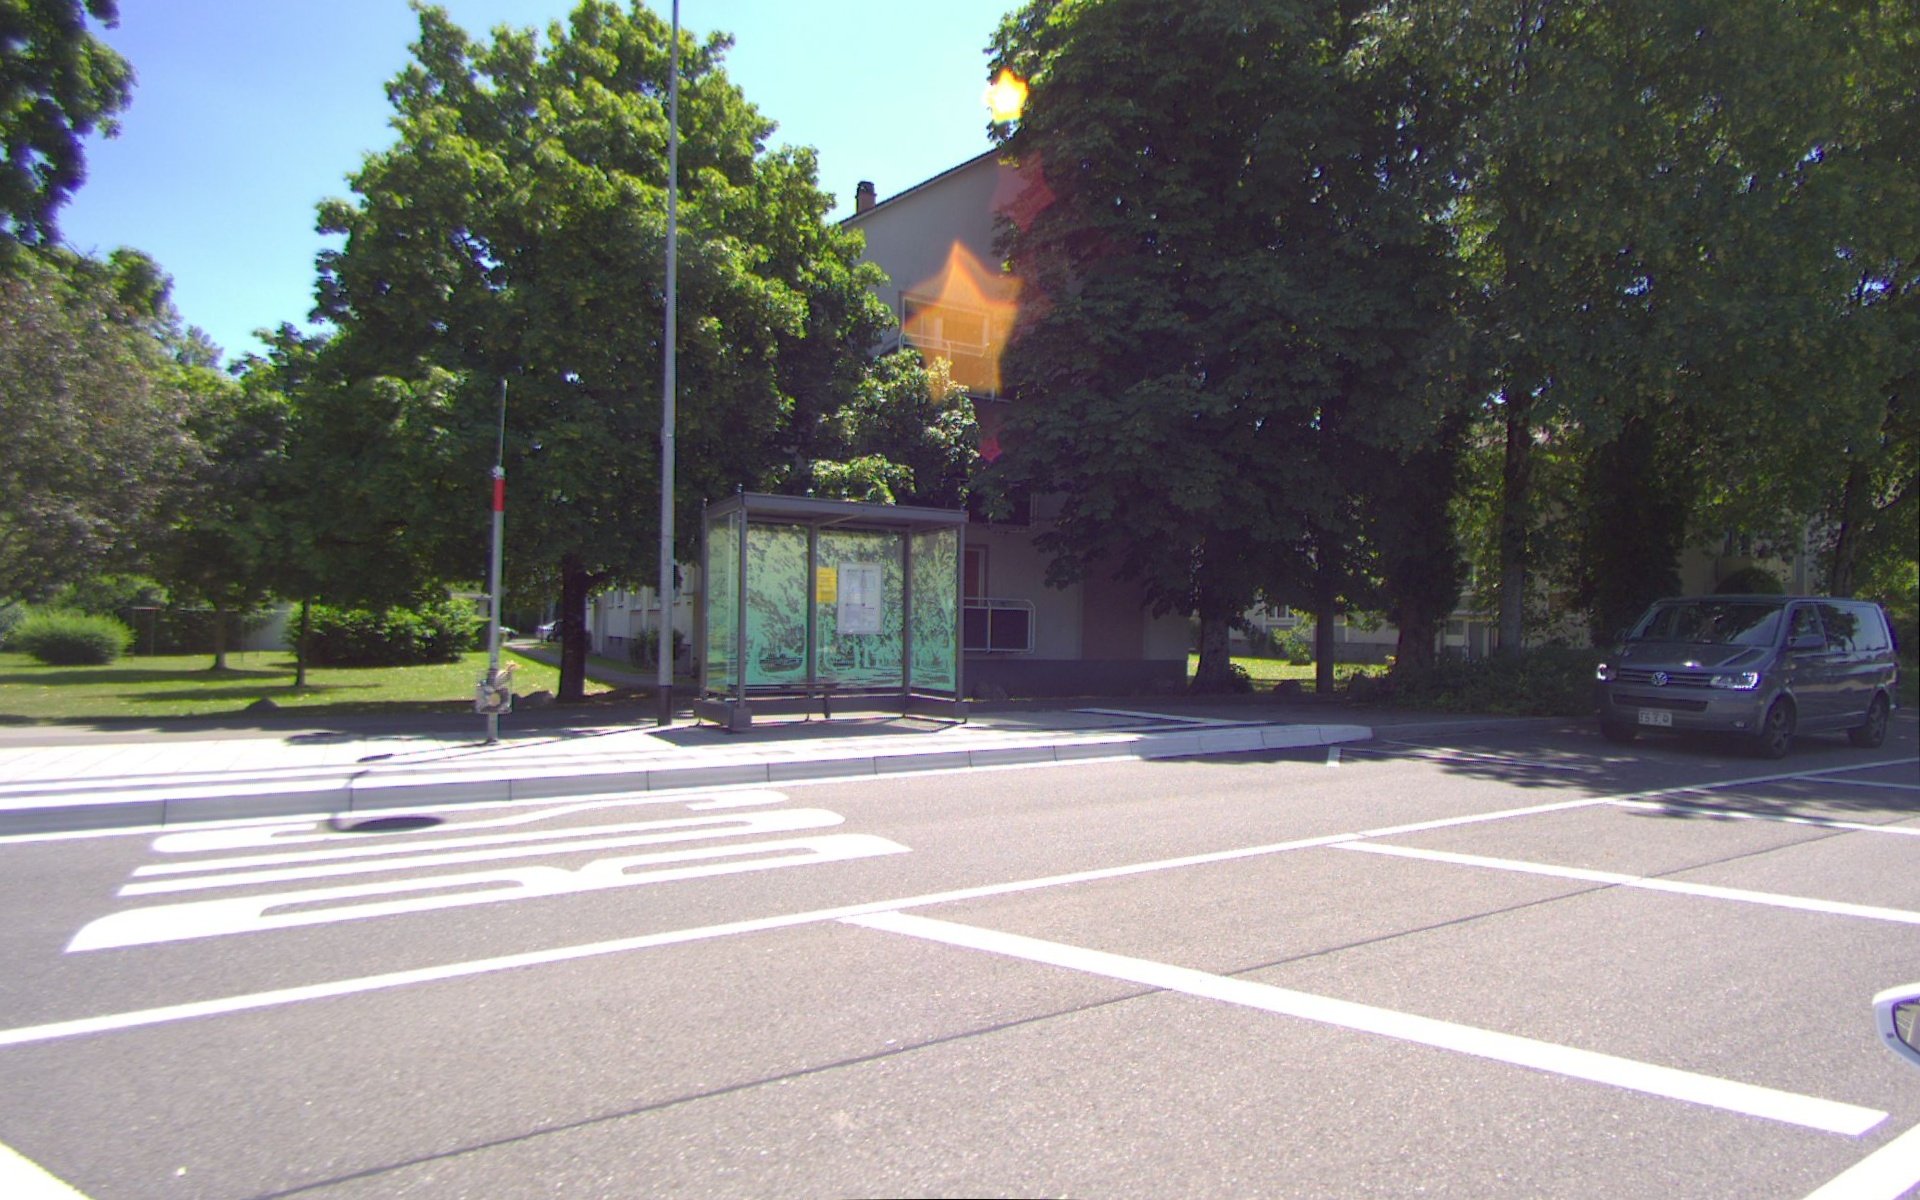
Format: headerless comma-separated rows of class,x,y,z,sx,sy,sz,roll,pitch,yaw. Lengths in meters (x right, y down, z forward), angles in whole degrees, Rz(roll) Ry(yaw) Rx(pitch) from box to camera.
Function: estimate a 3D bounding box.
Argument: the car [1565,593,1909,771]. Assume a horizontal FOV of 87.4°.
car,10.270,0.936,13.180,4.935,1.935,1.983,1,0,-32
